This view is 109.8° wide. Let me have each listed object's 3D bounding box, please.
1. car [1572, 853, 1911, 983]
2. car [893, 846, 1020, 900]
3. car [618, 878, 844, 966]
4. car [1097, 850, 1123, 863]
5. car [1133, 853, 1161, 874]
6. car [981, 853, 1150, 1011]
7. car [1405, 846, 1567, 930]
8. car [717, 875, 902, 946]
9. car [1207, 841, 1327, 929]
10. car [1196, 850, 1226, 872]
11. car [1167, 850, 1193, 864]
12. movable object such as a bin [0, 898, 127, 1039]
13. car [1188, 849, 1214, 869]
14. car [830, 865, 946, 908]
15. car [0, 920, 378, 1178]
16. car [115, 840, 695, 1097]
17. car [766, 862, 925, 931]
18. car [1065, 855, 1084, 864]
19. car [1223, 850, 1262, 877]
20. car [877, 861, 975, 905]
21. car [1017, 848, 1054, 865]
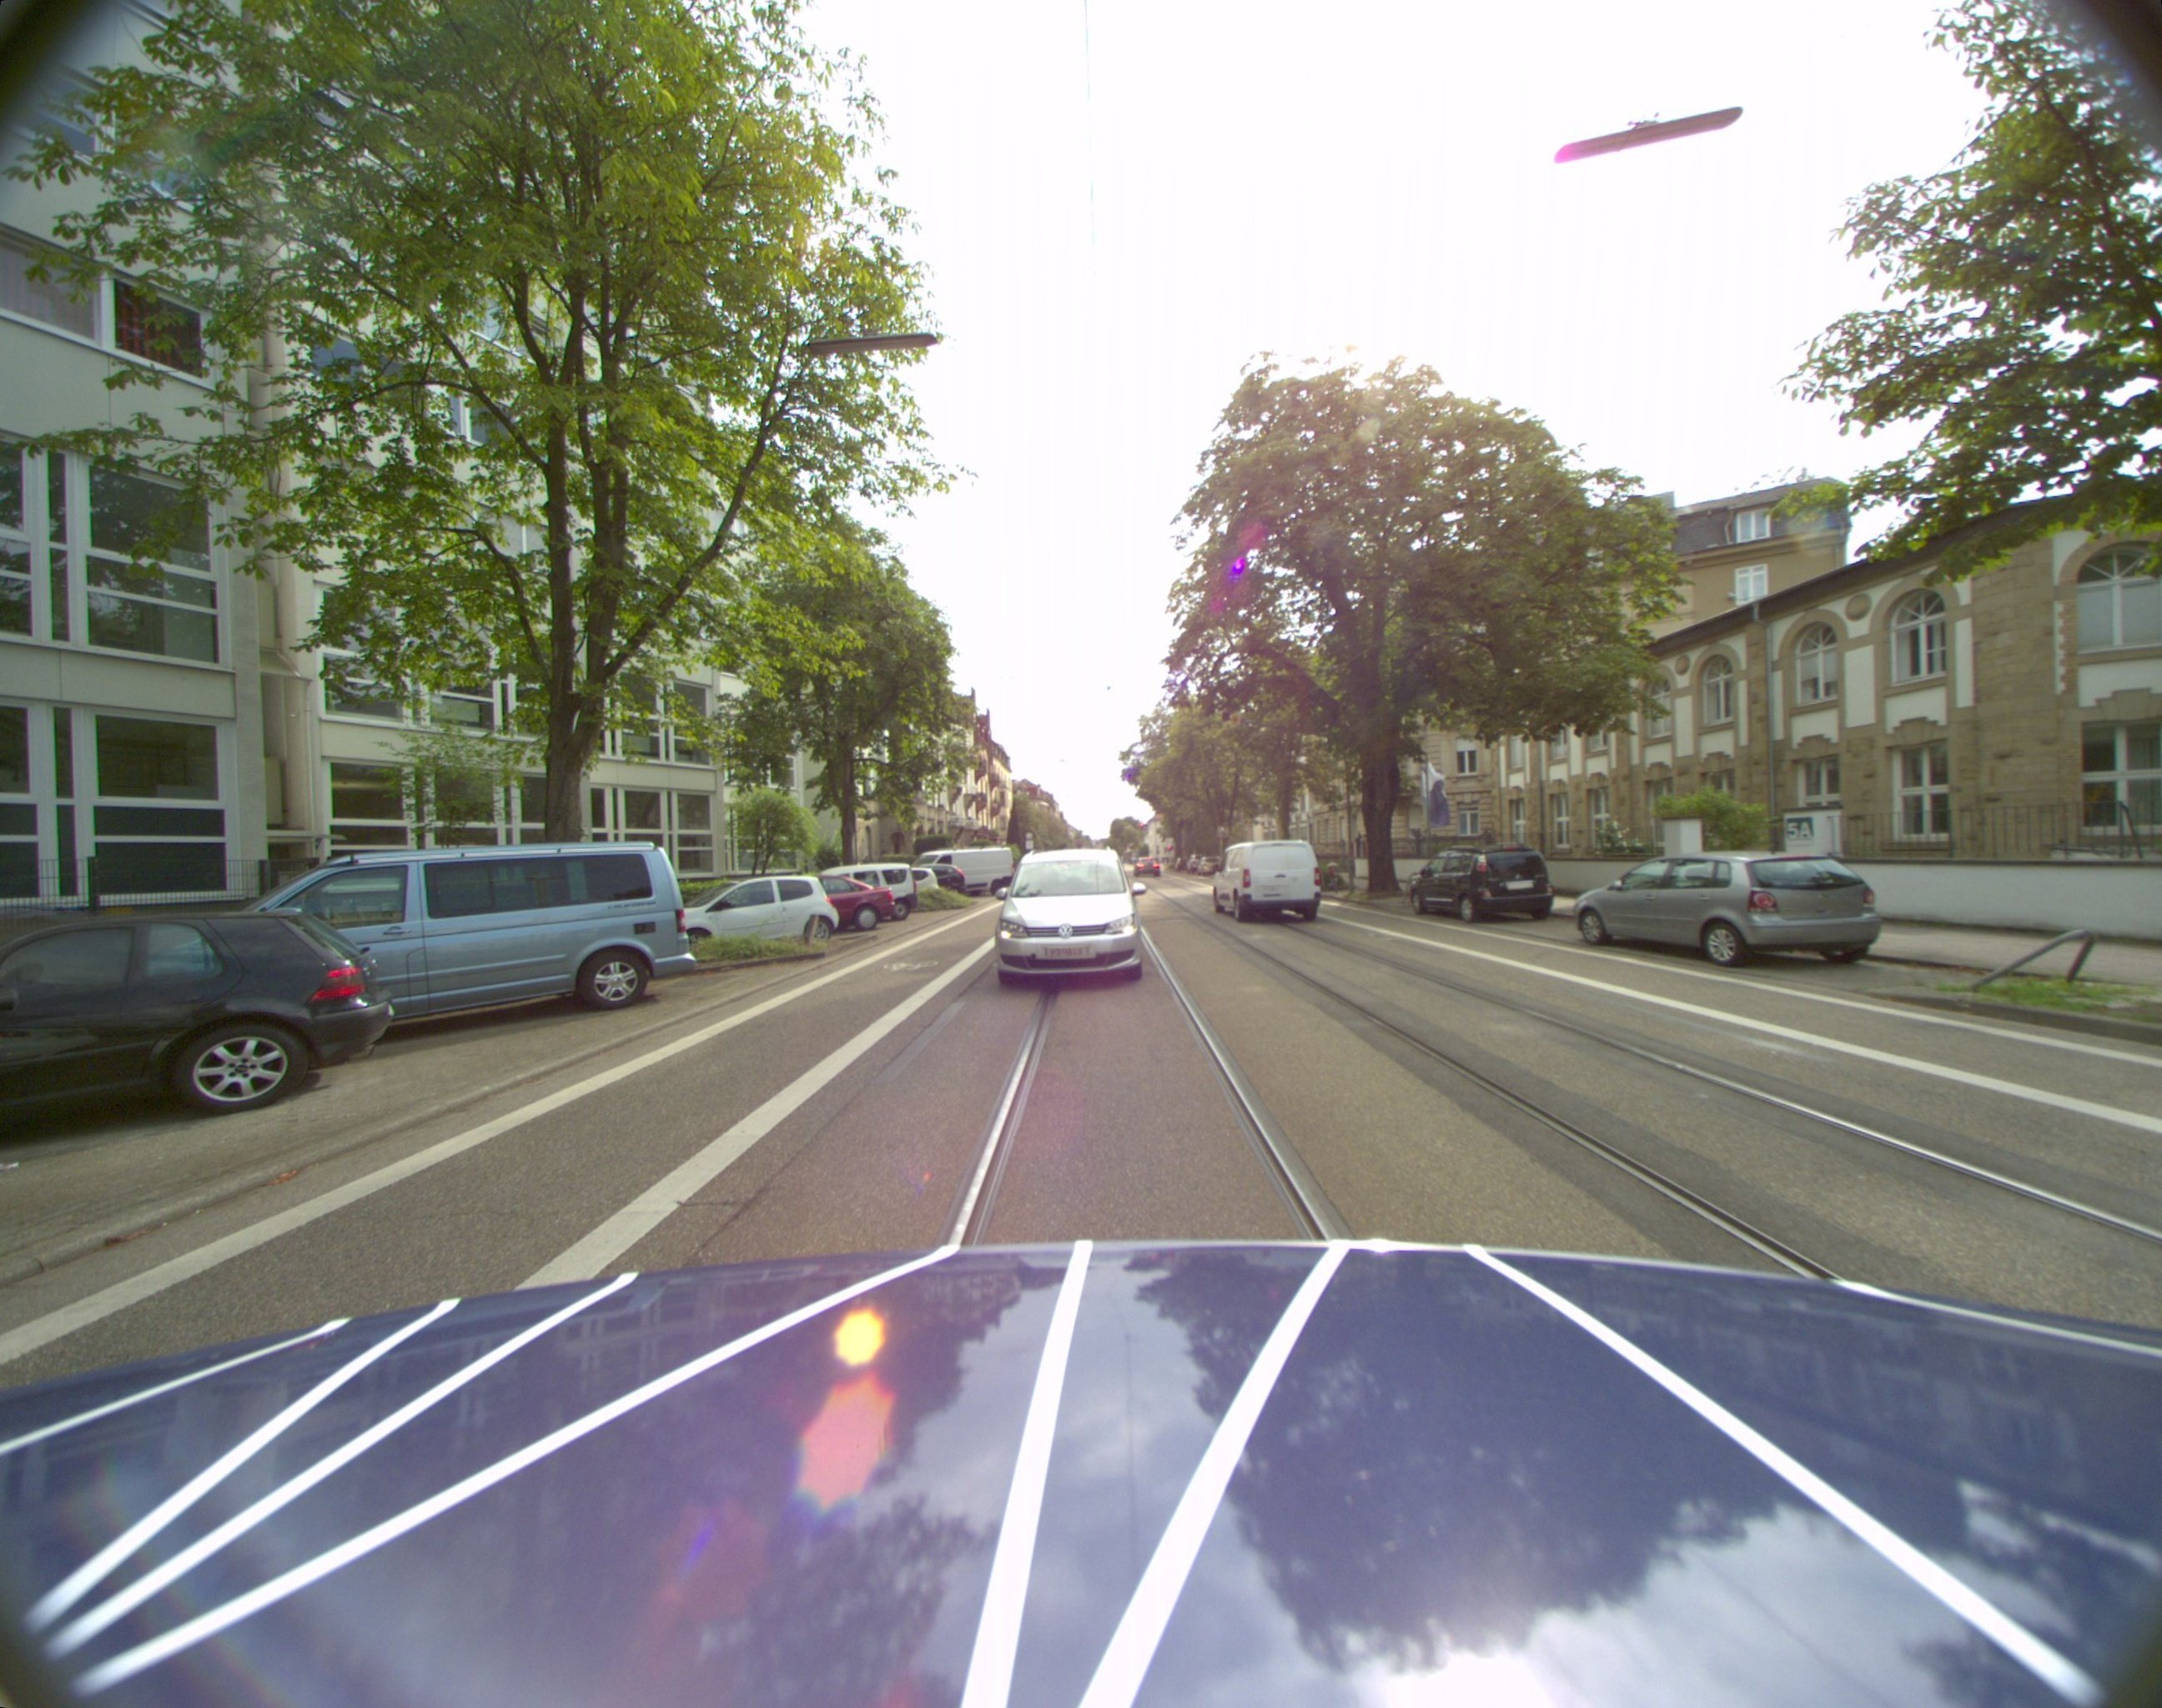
[{"bbox_3d":[8.829,0.746,10.618,1.632,1.456,3.574,-2,0,1],"label":"car"},{"bbox_3d":[-5.729,0.822,35.486,5.449,2.163,2.142,-2,1,-40],"label":"car"},{"bbox_3d":[-6.858,1.241,15.089,3.652,1.322,1.763,-3,1,-44],"label":"car"},{"bbox_3d":[4.787,0.461,124.177,3.994,2.002,2.001,-2,0,8],"label":"car"},{"bbox_3d":[5.003,0.715,58.323,1.786,1.506,4.144,-2,0,1],"label":"car"},{"bbox_3d":[-0.140,0.867,10.720,1.816,1.691,4.617,-2,0,1],"label":"car"},{"bbox_3d":[8.976,0.687,17.206,1.659,1.624,3.725,-2,0,1],"label":"car"},{"bbox_3d":[-6.514,1.281,18.388,3.777,1.331,1.809,-2,1,-40],"label":"car"},{"bbox_3d":[4.390,0.667,18.681,1.799,1.813,4.678,-2,0,1],"label":"car"},{"bbox_3d":[10.134,0.514,59.240,1.659,1.624,3.906,-2,0,1],"label":"car"},{"bbox_3d":[16.021,0.481,122.405,3.994,2.002,2.001,-2,0,9],"label":"car"},{"bbox_3d":[-12.224,1.277,8.483,1.334,1.450,1.400,-2,0,5],"label":"movable object such as a bin"},{"bbox_3d":[10.444,0.420,66.551,1.659,1.624,3.906,-2,0,1],"label":"car"},{"bbox_3d":[-6.980,1.139,27.674,3.652,1.322,1.763,-3,1,-44],"label":"car"},{"bbox_3d":[-7.412,1.318,5.004,3.980,1.379,1.810,-3,-1,-44],"label":"car"},{"bbox_3d":[-6.995,0.932,8.450,4.354,2.052,1.994,-2,0,-45],"label":"car"},{"bbox_3d":[-6.551,1.110,21.306,3.777,1.609,1.809,-2,1,-40],"label":"car"},{"bbox_3d":[-1.472,1.271,173.620,3.999,1.797,1.999,-2,1,-5],"label":"car"},{"bbox_3d":[10.324,0.583,48.699,1.659,1.592,3.906,-2,0,1],"label":"car"},{"bbox_3d":[-6.487,1.169,31.806,3.649,1.580,1.764,-2,1,-25],"label":"car"},{"bbox_3d":[-7.675,0.390,127.705,5.918,2.585,2.004,-2,0,33],"label":"car"}]
